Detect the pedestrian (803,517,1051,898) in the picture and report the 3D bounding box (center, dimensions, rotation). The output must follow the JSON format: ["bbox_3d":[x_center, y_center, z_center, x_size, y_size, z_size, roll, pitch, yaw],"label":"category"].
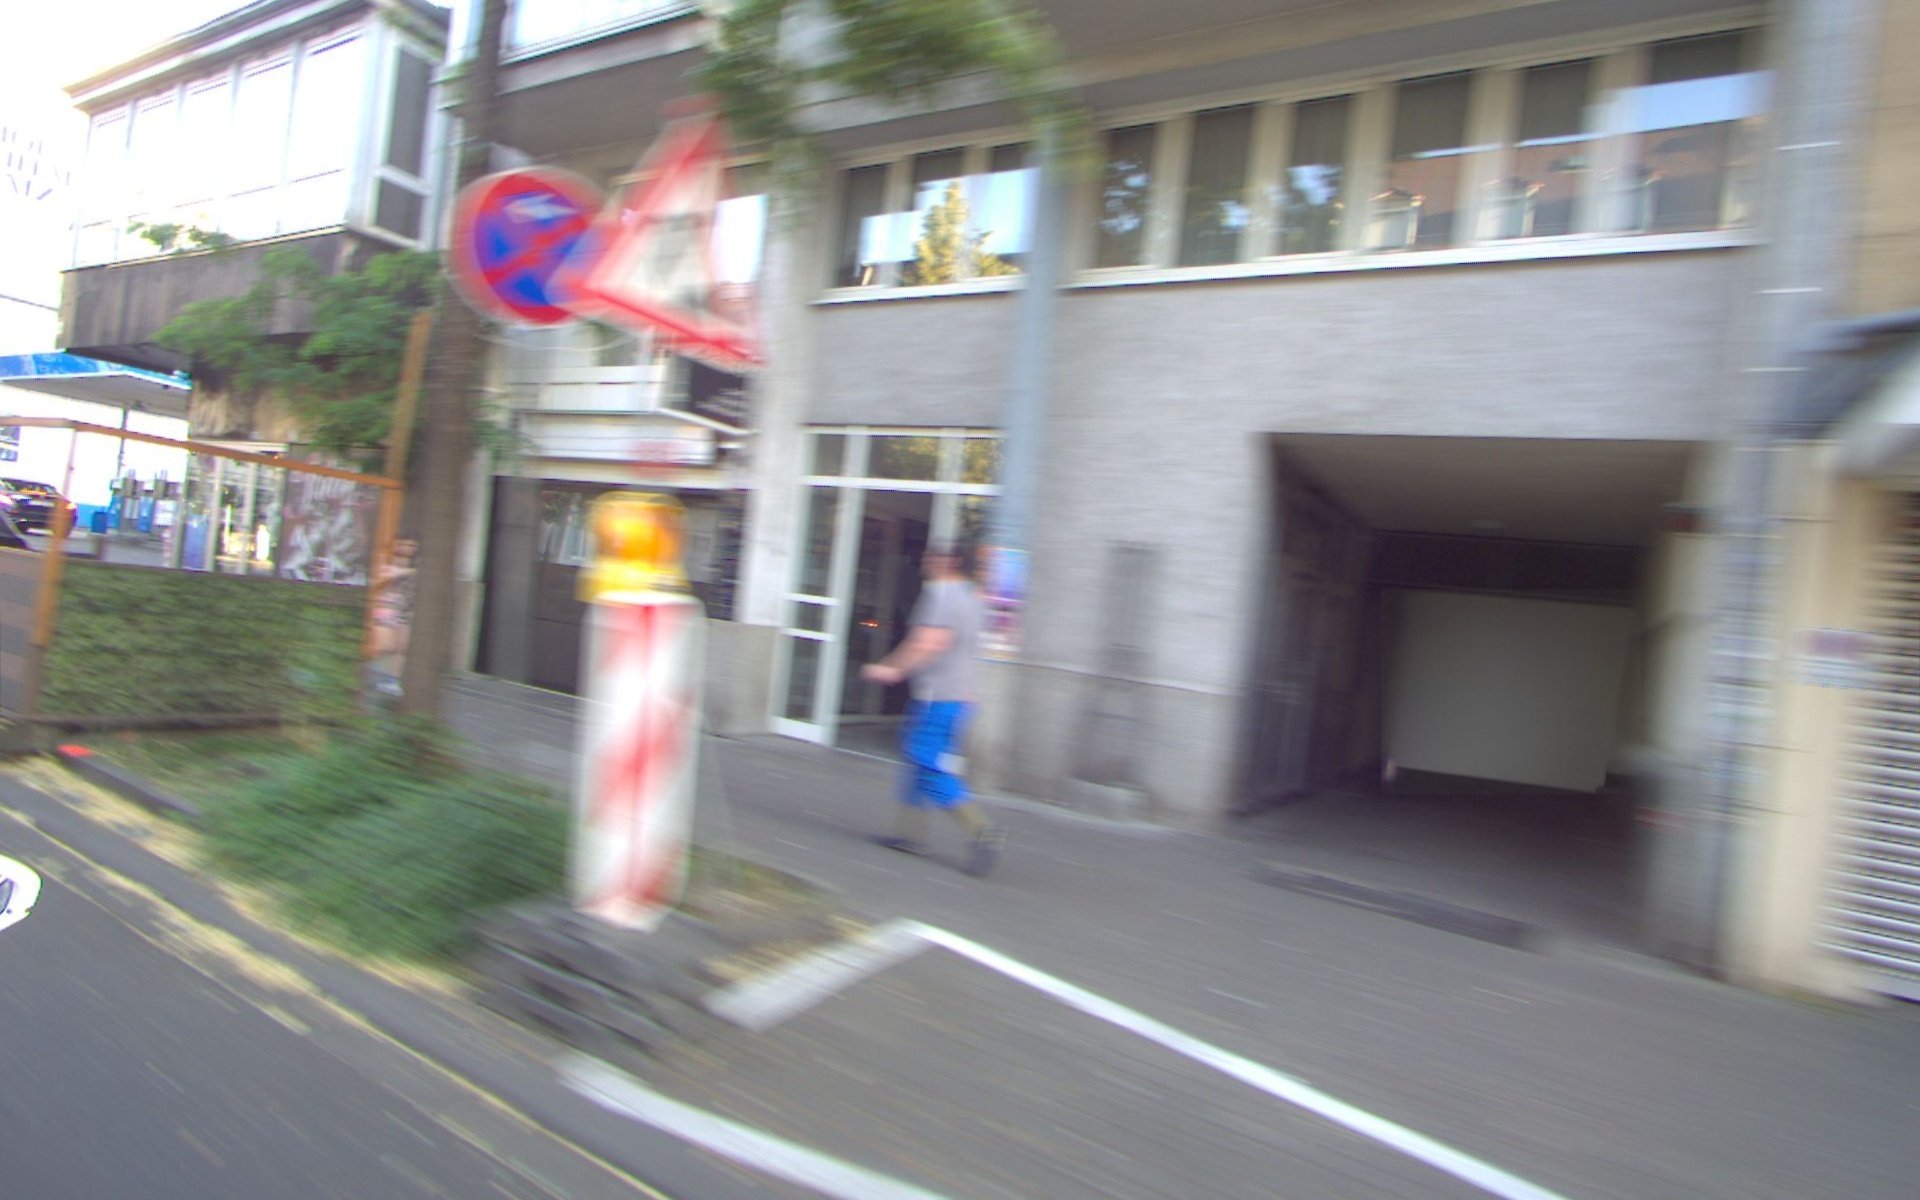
[{"bbox_3d":[-0.150,0.541,5.542,0.978,1.817,0.858,7,1,14],"label":"pedestrian"}]

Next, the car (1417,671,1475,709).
[{"bbox_3d":[23.363,4.298,48.496,1.637,1.533,3.747,5,-1,14],"label":"car"}]

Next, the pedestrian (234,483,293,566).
[{"bbox_3d":[-26.430,-2.855,38.176,1.148,2.942,1.210,6,-1,31],"label":"pedestrian"}]

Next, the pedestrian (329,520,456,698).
[{"bbox_3d":[-5.280,0.085,9.365,0.760,1.545,0.611,7,1,31],"label":"pedestrian"}]

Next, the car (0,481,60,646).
[{"bbox_3d":[-11.057,-0.595,9.866,4.766,1.507,1.830,7,2,29],"label":"car"}]

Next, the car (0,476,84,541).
[{"bbox_3d":[-25.786,-2.540,27.185,4.827,1.448,1.736,6,0,31],"label":"car"}]
